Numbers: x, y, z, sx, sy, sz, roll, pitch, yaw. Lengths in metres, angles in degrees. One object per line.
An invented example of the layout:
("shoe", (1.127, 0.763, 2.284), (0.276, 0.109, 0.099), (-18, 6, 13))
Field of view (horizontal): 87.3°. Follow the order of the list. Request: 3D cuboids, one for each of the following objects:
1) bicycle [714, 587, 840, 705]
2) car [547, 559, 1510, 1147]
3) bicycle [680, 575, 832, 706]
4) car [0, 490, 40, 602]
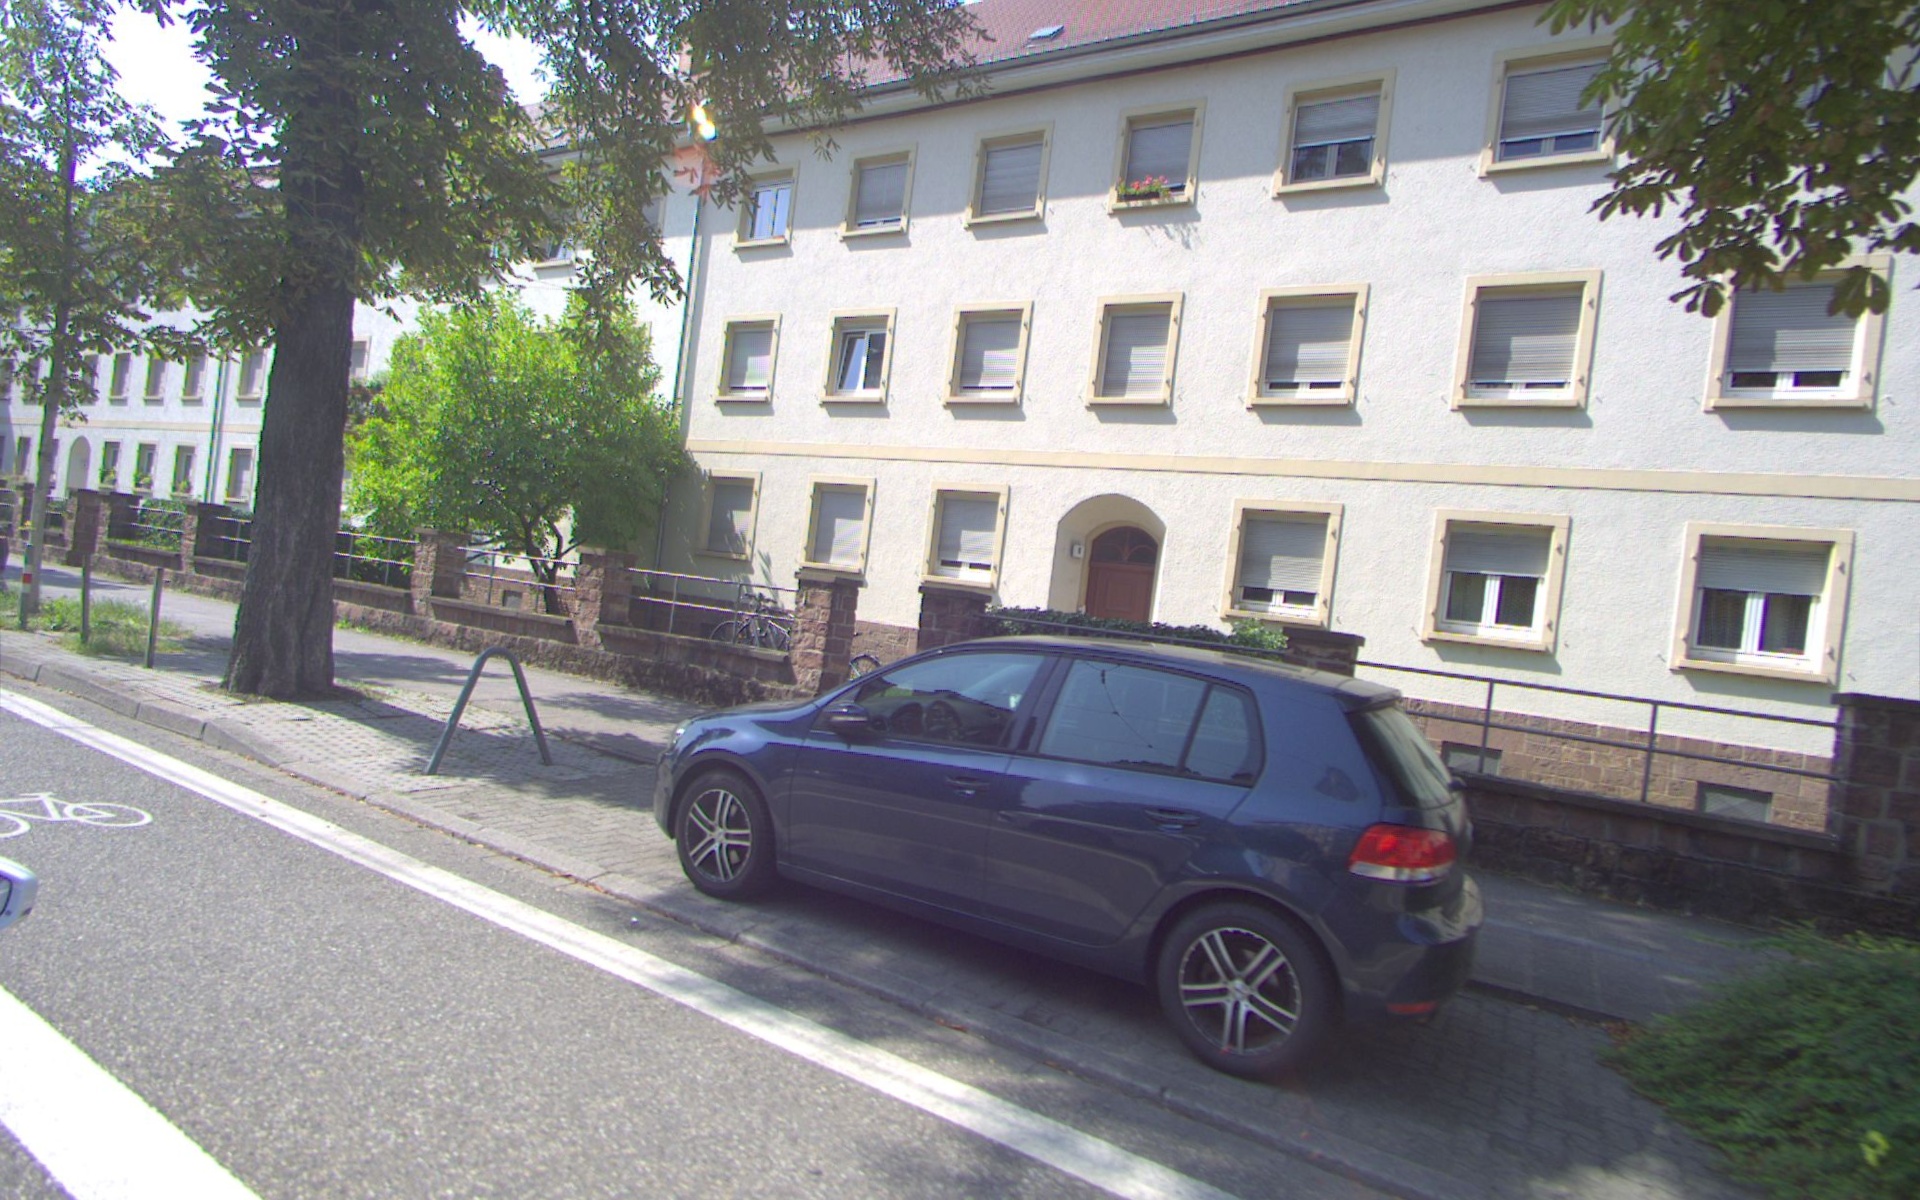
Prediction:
("bicycle", (-2.307, 0.562, 12.621), (1.553, 1.273, 0.402), (7, 1, 31))
("car", (0.187, 0.818, 4.992), (4.312, 1.495, 1.758), (7, 0, 30))
("bicycle", (-2.494, 0.472, 12.205), (1.860, 1.350, 0.456), (7, 1, 31))
("car", (-15.344, -1.021, 14.330), (4.758, 1.495, 1.895), (7, 0, 30))
